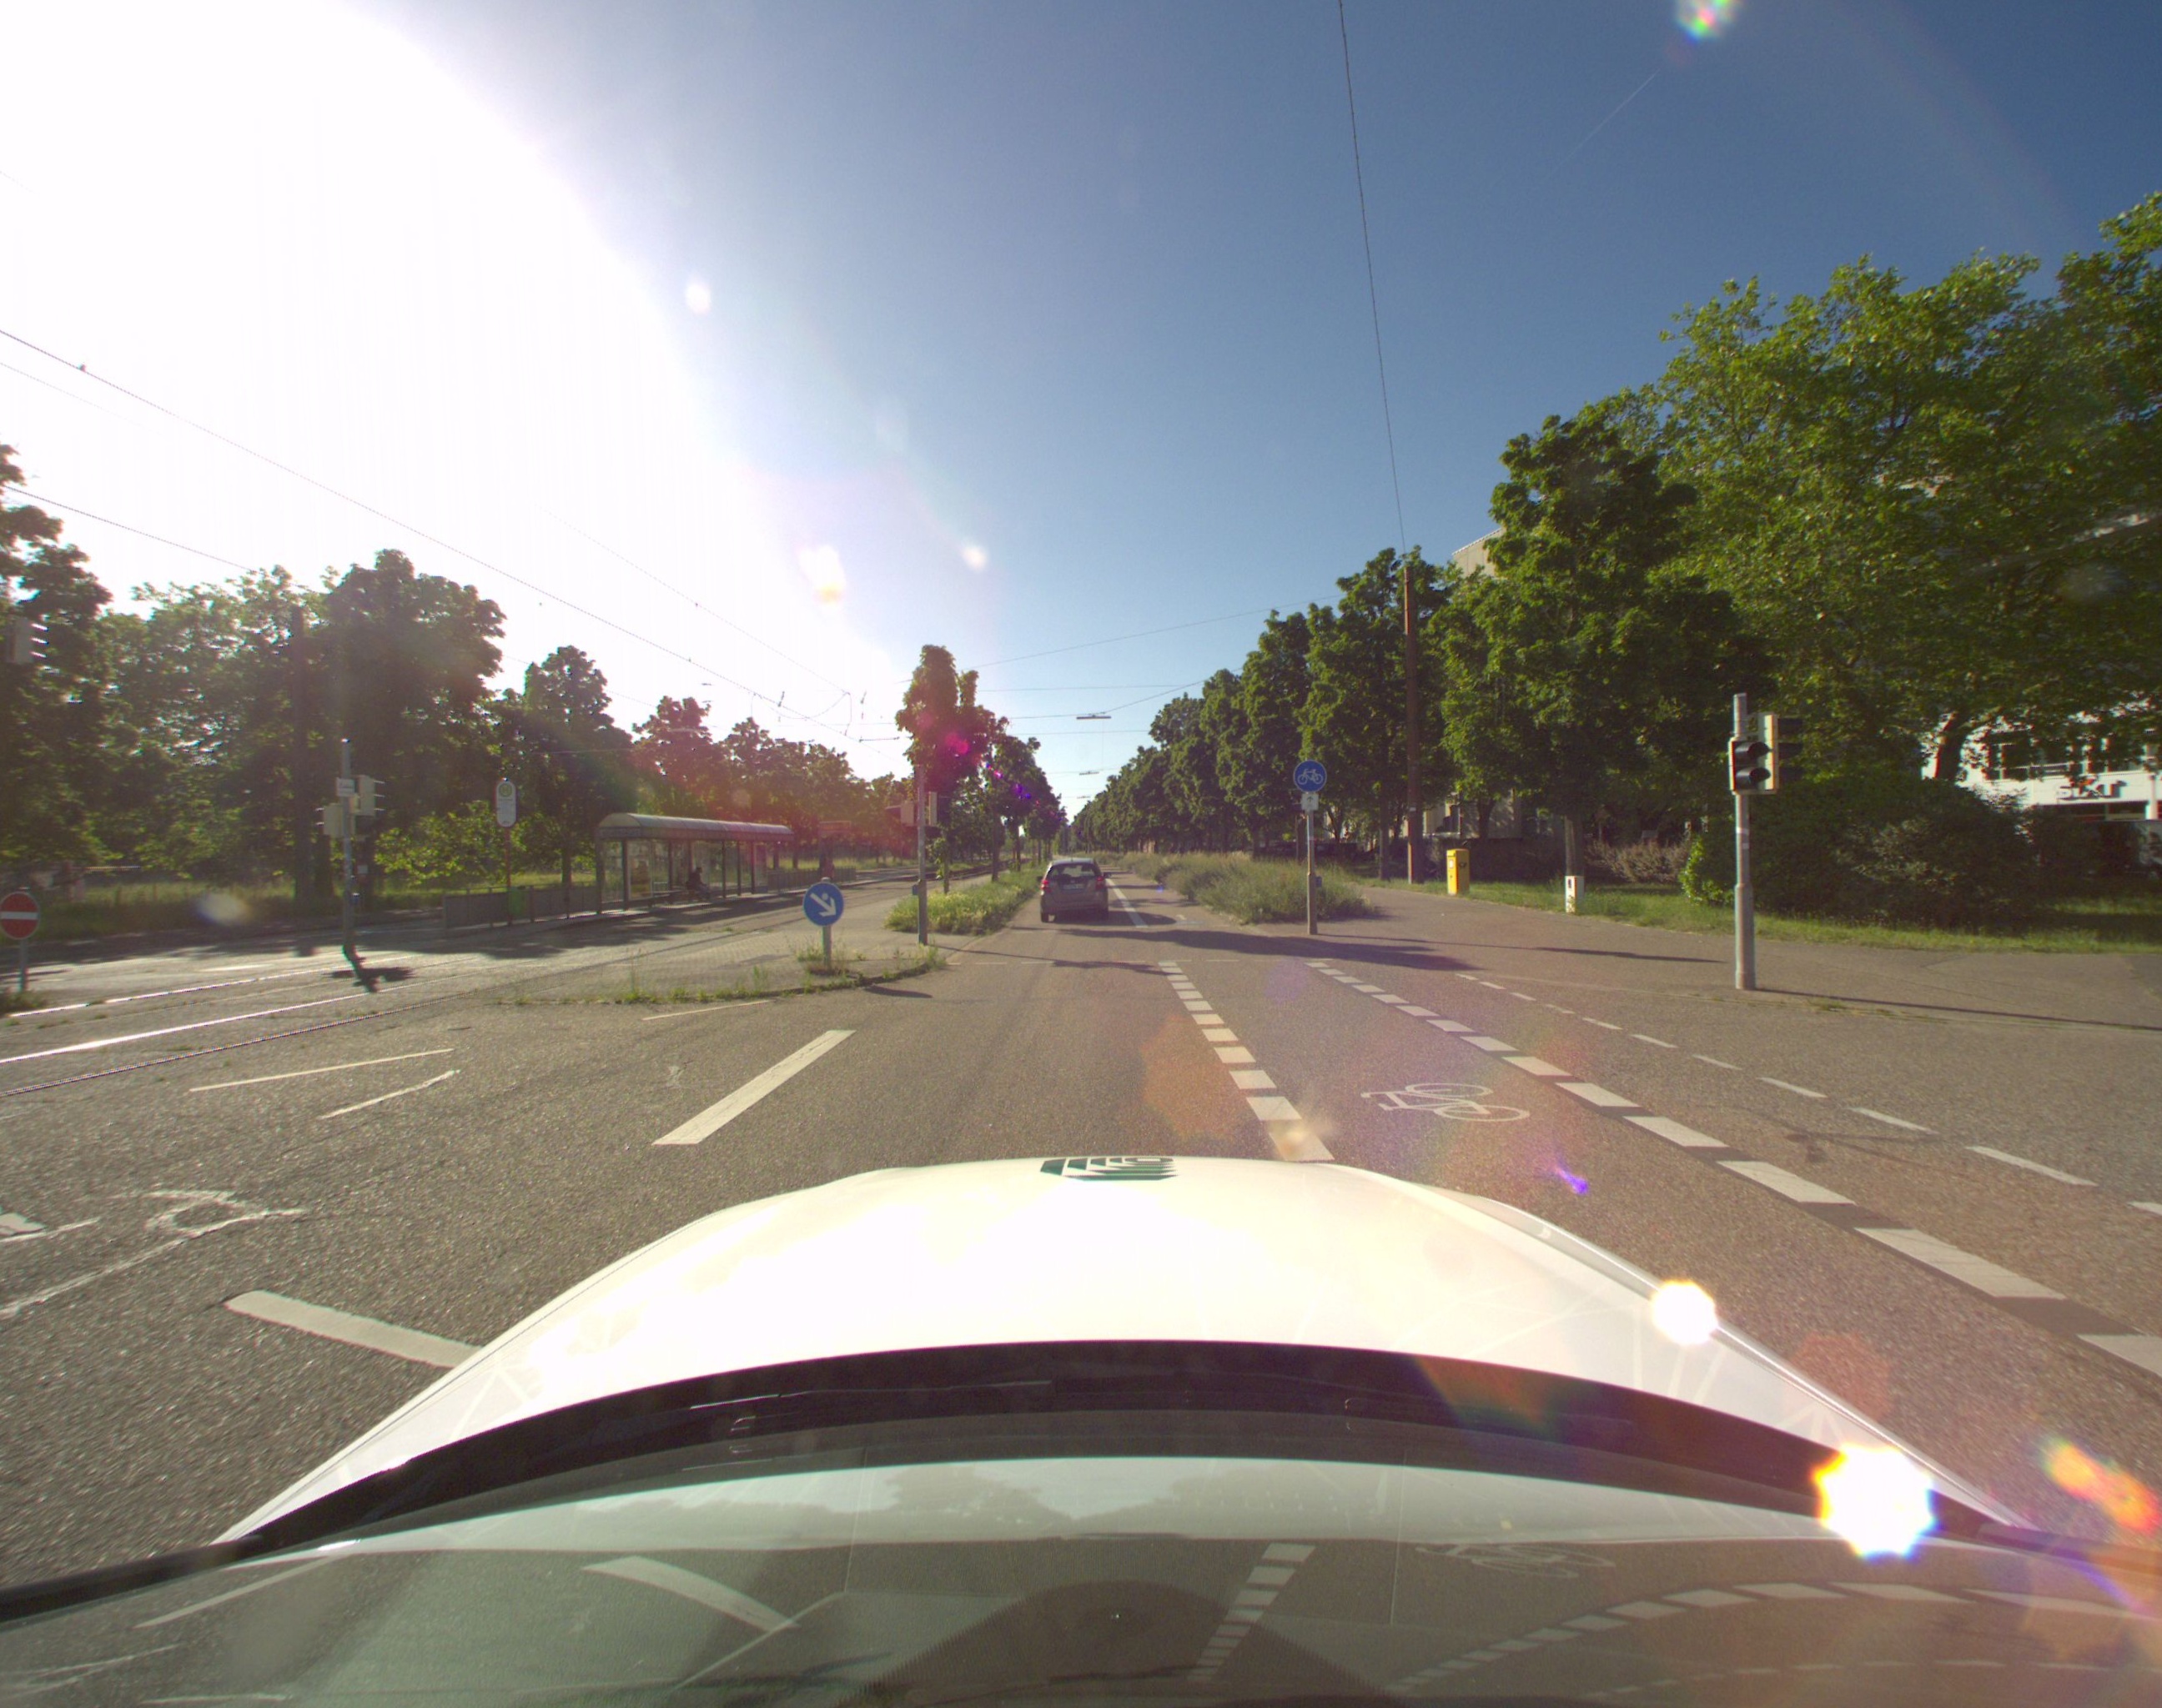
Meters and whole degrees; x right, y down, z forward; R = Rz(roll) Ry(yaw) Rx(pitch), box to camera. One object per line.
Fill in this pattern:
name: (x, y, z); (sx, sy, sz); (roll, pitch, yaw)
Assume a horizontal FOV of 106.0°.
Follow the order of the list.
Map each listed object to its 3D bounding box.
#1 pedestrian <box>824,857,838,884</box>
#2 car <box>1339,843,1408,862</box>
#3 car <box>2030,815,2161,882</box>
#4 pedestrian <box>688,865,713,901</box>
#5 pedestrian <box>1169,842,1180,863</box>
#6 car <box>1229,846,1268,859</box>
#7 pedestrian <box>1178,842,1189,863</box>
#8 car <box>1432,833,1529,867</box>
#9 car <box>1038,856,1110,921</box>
pedestrian: (-13.447, 0.884, 43.794); (0.542, 1.447, 0.559); (-2, -1, 1)
car: (22.828, -0.115, 63.594); (4.625, 1.327, 2.105); (-1, 0, 36)
car: (29.924, -0.182, 22.986); (4.888, 1.757, 2.082); (-1, -1, -14)
pedestrian: (-13.634, 1.046, 29.221); (0.562, 1.257, 0.581); (-3, -1, 1)
pedestrian: (8.714, -0.154, 76.266); (0.880, 1.884, 0.875); (-1, 0, -2)
car: (22.108, -0.206, 107.458); (4.623, 1.555, 1.997); (-1, 0, -5)
pedestrian: (9.617, -0.154, 76.256); (0.880, 1.884, 0.875); (-1, 0, -2)
car: (23.660, -0.200, 48.331); (4.875, 1.802, 1.830); (-2, -2, 39)
car: (-0.097, 0.842, 21.069); (1.694, 1.524, 3.710); (0, -1, 2)
